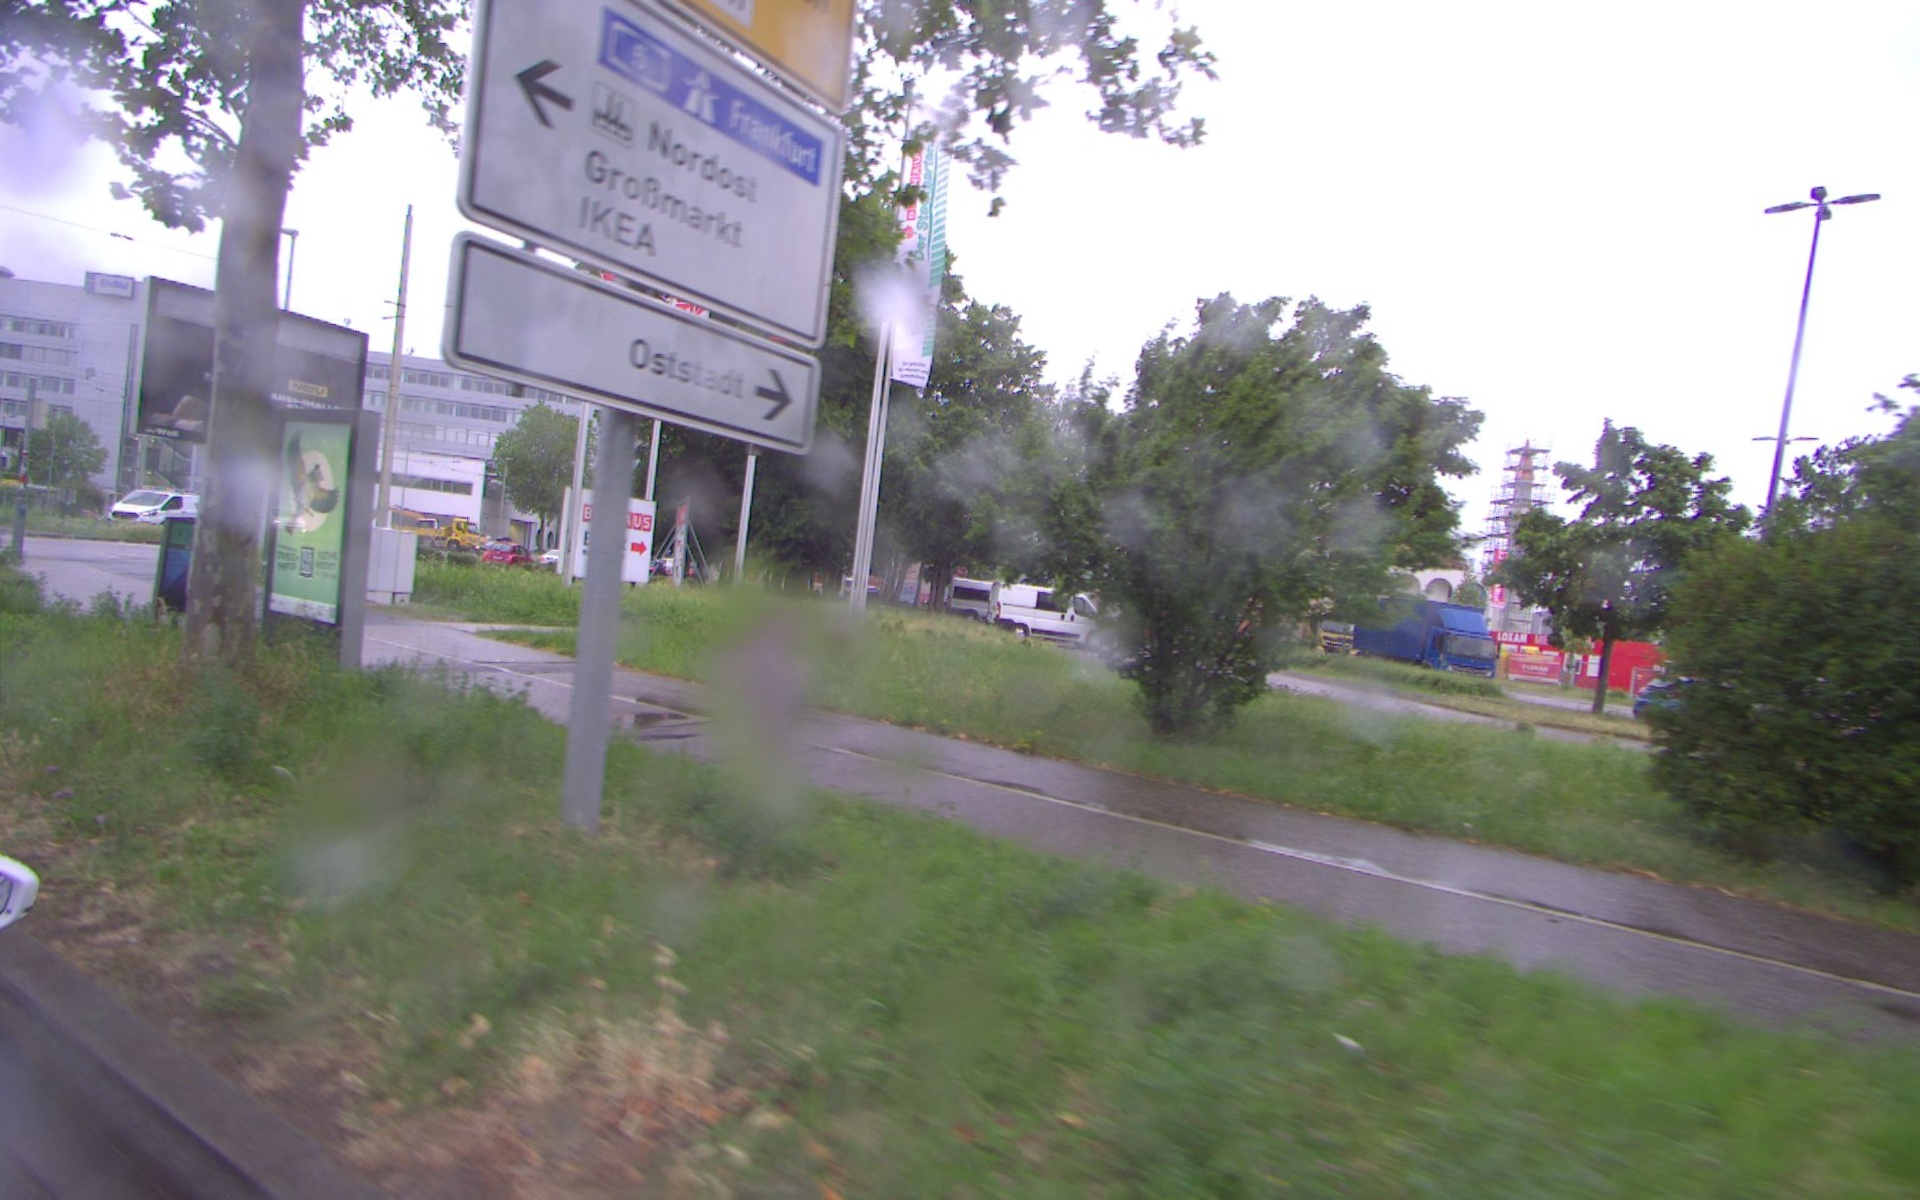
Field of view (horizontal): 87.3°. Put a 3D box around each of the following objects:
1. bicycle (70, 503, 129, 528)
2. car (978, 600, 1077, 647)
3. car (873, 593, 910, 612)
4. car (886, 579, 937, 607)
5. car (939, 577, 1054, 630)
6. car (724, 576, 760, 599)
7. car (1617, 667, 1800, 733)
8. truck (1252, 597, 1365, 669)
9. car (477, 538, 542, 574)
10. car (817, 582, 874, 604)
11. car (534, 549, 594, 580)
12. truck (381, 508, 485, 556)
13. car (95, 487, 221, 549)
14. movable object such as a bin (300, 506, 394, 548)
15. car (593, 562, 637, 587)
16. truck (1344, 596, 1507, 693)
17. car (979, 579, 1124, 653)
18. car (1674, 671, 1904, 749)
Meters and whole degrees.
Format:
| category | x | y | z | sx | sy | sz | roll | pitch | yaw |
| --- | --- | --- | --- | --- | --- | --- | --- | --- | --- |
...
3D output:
| category | x | y | z | sx | sy | sz | roll | pitch | yaw |
| --- | --- | --- | --- | --- | --- | --- | --- | --- | --- |
| bicycle | -45.838 | -4.492 | 53.645 | 2.294 | 1.059 | 0.840 | 6 | 1 | -39 |
| car | 2.954 | 1.012 | 44.611 | 3.932 | 1.616 | 1.996 | 6 | 0 | -10 |
| car | -7.120 | 0.241 | 104.493 | 3.749 | 1.509 | 1.677 | 7 | -1 | -5 |
| car | -4.723 | -0.691 | 98.304 | 4.670 | 2.241 | 1.964 | 6 | 1 | -3 |
| car | 1.962 | 0.172 | 55.382 | 5.955 | 2.232 | 2.190 | 6 | 1 | -3 |
| car | -17.512 | -0.985 | 80.969 | 1.892 | 1.509 | 4.828 | 6 | 0 | -2 |
| car | 21.263 | 2.830 | 28.656 | 3.980 | 1.309 | 1.865 | 6 | 1 | -10 |
| truck | 19.872 | 1.789 | 58.151 | 2.507 | 3.511 | 9.397 | 7 | -1 | -2 |
| car | -24.205 | -2.328 | 54.194 | 1.647 | 1.508 | 3.818 | 7 | -1 | 0 |
| car | -12.335 | -0.743 | 108.744 | 5.853 | 1.753 | 2.276 | 6 | 1 | -4 |
| car | -24.869 | -2.206 | 63.379 | 1.892 | 1.509 | 4.828 | 6 | 0 | -2 |
| truck | -49.565 | -6.364 | 94.840 | 7.747 | 3.552 | 3.325 | 6 | 1 | -4 |
| car | -35.119 | -3.543 | 44.244 | 1.964 | 2.152 | 4.684 | 6 | 0 | -5 |
| movable object such as a bin | -57.481 | -6.792 | 94.479 | 6.601 | 3.034 | 3.325 | 6 | 1 | -5 |
| car | -26.128 | -1.926 | 76.307 | 1.892 | 1.606 | 4.622 | 6 | 0 | -4 |
| truck | 20.129 | 1.750 | 44.155 | 2.508 | 3.513 | 8.008 | 7 | 0 | -4 |
| car | 3.471 | 0.602 | 38.661 | 5.015 | 2.232 | 2.188 | 6 | 1 | -9 |
| car | 20.732 | 2.725 | 25.319 | 3.972 | 1.309 | 1.869 | 6 | 1 | 7 |
